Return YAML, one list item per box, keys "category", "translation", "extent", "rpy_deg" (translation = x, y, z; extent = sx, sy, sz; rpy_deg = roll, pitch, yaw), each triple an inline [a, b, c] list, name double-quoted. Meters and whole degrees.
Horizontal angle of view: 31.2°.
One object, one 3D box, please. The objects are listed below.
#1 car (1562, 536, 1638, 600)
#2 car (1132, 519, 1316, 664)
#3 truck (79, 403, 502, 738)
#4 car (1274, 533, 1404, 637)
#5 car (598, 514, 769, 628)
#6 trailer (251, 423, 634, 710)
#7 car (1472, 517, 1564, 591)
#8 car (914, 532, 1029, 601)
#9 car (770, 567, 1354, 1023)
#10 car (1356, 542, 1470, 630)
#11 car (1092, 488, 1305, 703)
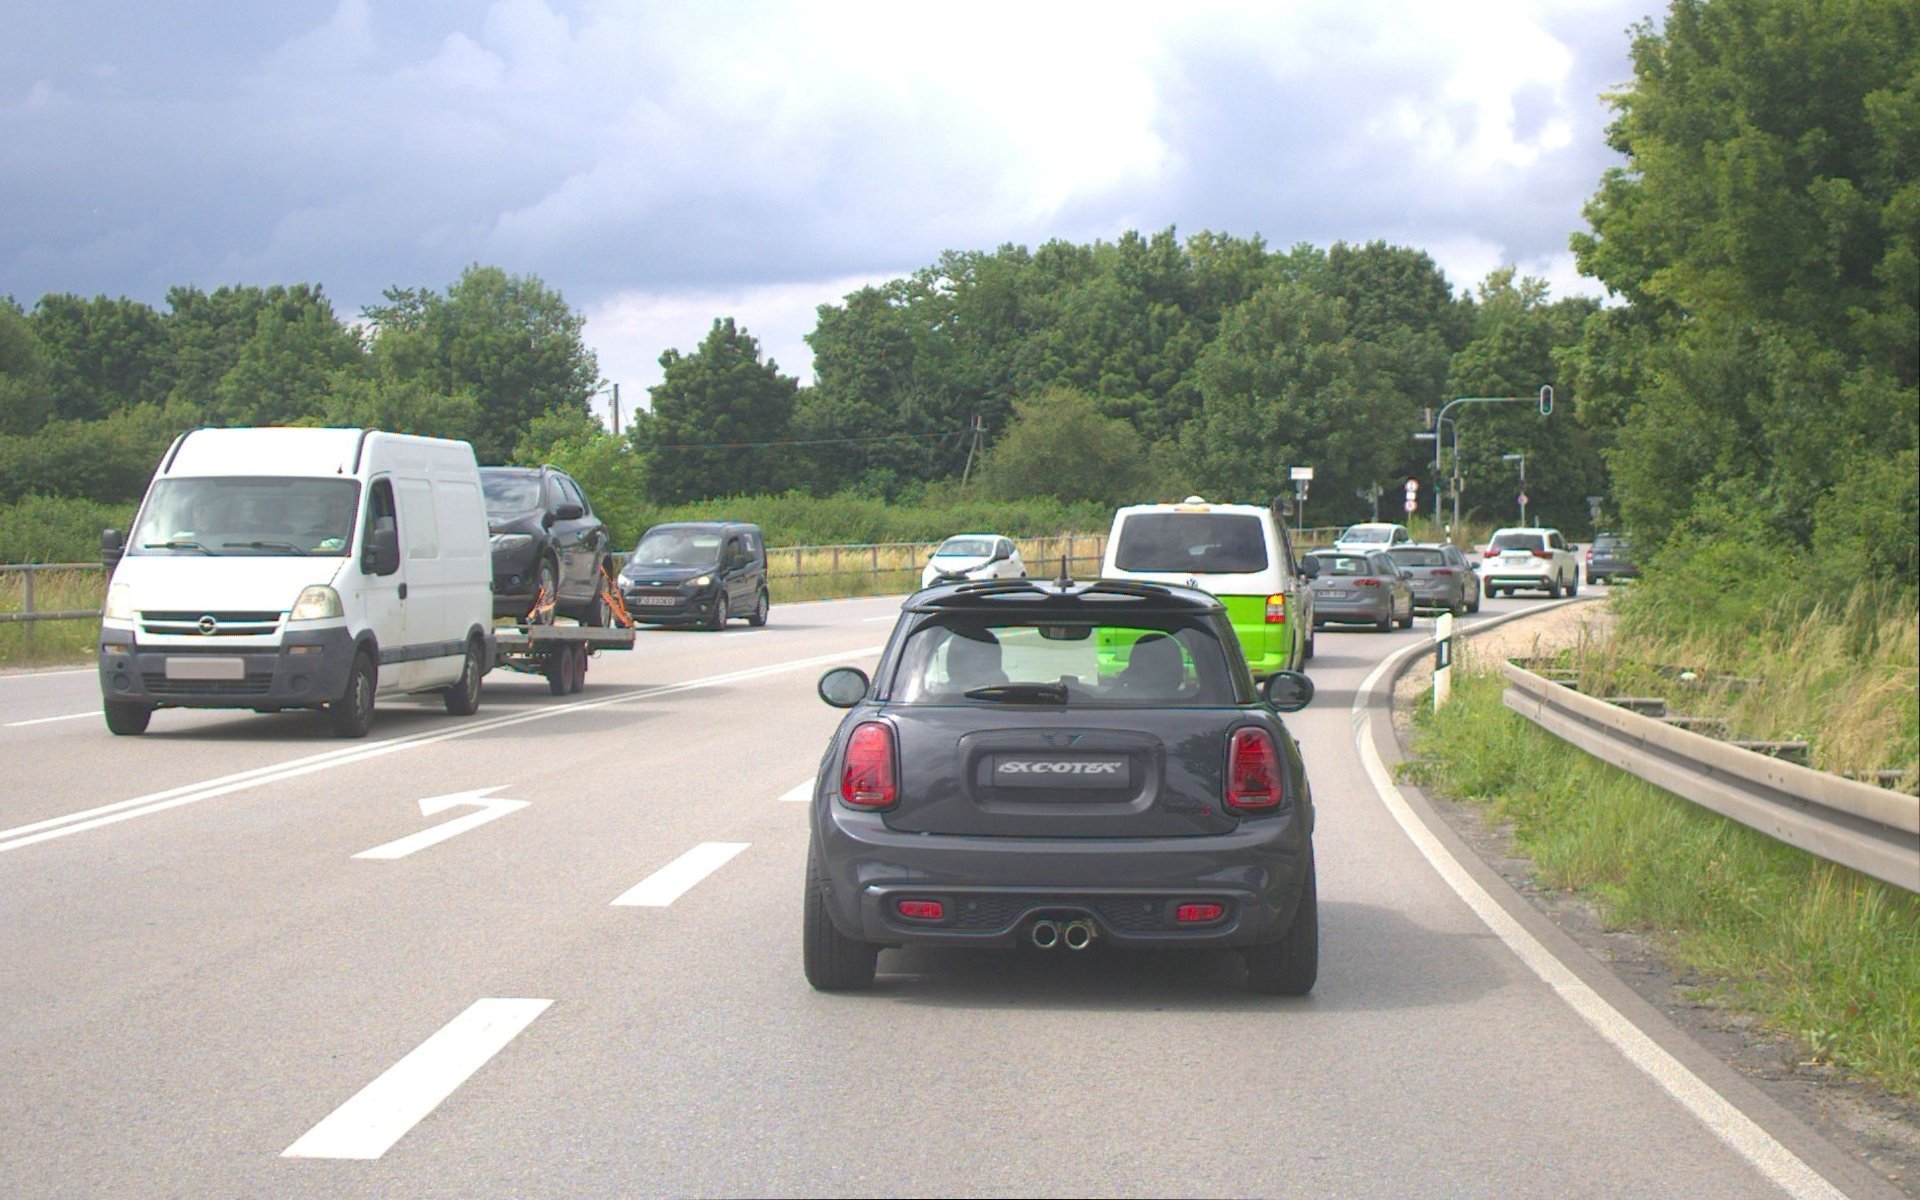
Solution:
- category: "car"
  translation: [17.852, -0.887, 95.787]
  extent: [1.994, 1.678, 3.998]
  rpy_deg: [2, 1, 11]
- category: "car"
  translation: [3.325, -0.113, 42.667]
  extent: [1.994, 1.678, 3.999]
  rpy_deg: [1, 0, 8]
- category: "truck"
  translation: [-5.288, -0.260, 27.899]
  extent: [2.023, 2.436, 5.024]
  rpy_deg: [1, 1, 5]
- category: "car"
  translation: [6.625, -0.270, 59.776]
  extent: [1.994, 1.678, 3.998]
  rpy_deg: [2, 1, 9]
- category: "car"
  translation: [-4.546, -0.511, 57.076]
  extent: [1.994, 1.791, 4.319]
  rpy_deg: [1, 1, 7]
- category: "trailer"
  translation: [-4.813, -0.348, 33.197]
  extent: [2.024, 2.436, 6.965]
  rpy_deg: [1, 1, 5]
- category: "car"
  translation: [13.418, -1.089, 82.565]
  extent: [1.994, 1.678, 3.998]
  rpy_deg: [2, 1, 11]
- category: "car"
  translation: [0.295, -0.781, 77.342]
  extent: [1.877, 1.484, 3.742]
  rpy_deg: [1, 1, 11]
- category: "car"
  translation: [0.333, 0.612, 12.956]
  extent: [1.845, 1.423, 3.841]
  rpy_deg: [1, 0, 0]
- category: "car"
  translation: [9.232, -0.284, 69.885]
  extent: [1.994, 1.678, 3.975]
  rpy_deg: [2, 1, 11]
- category: "car"
  translation: [2.423, -0.055, 34.149]
  extent: [1.845, 1.980, 3.840]
  rpy_deg: [1, 0, 7]
